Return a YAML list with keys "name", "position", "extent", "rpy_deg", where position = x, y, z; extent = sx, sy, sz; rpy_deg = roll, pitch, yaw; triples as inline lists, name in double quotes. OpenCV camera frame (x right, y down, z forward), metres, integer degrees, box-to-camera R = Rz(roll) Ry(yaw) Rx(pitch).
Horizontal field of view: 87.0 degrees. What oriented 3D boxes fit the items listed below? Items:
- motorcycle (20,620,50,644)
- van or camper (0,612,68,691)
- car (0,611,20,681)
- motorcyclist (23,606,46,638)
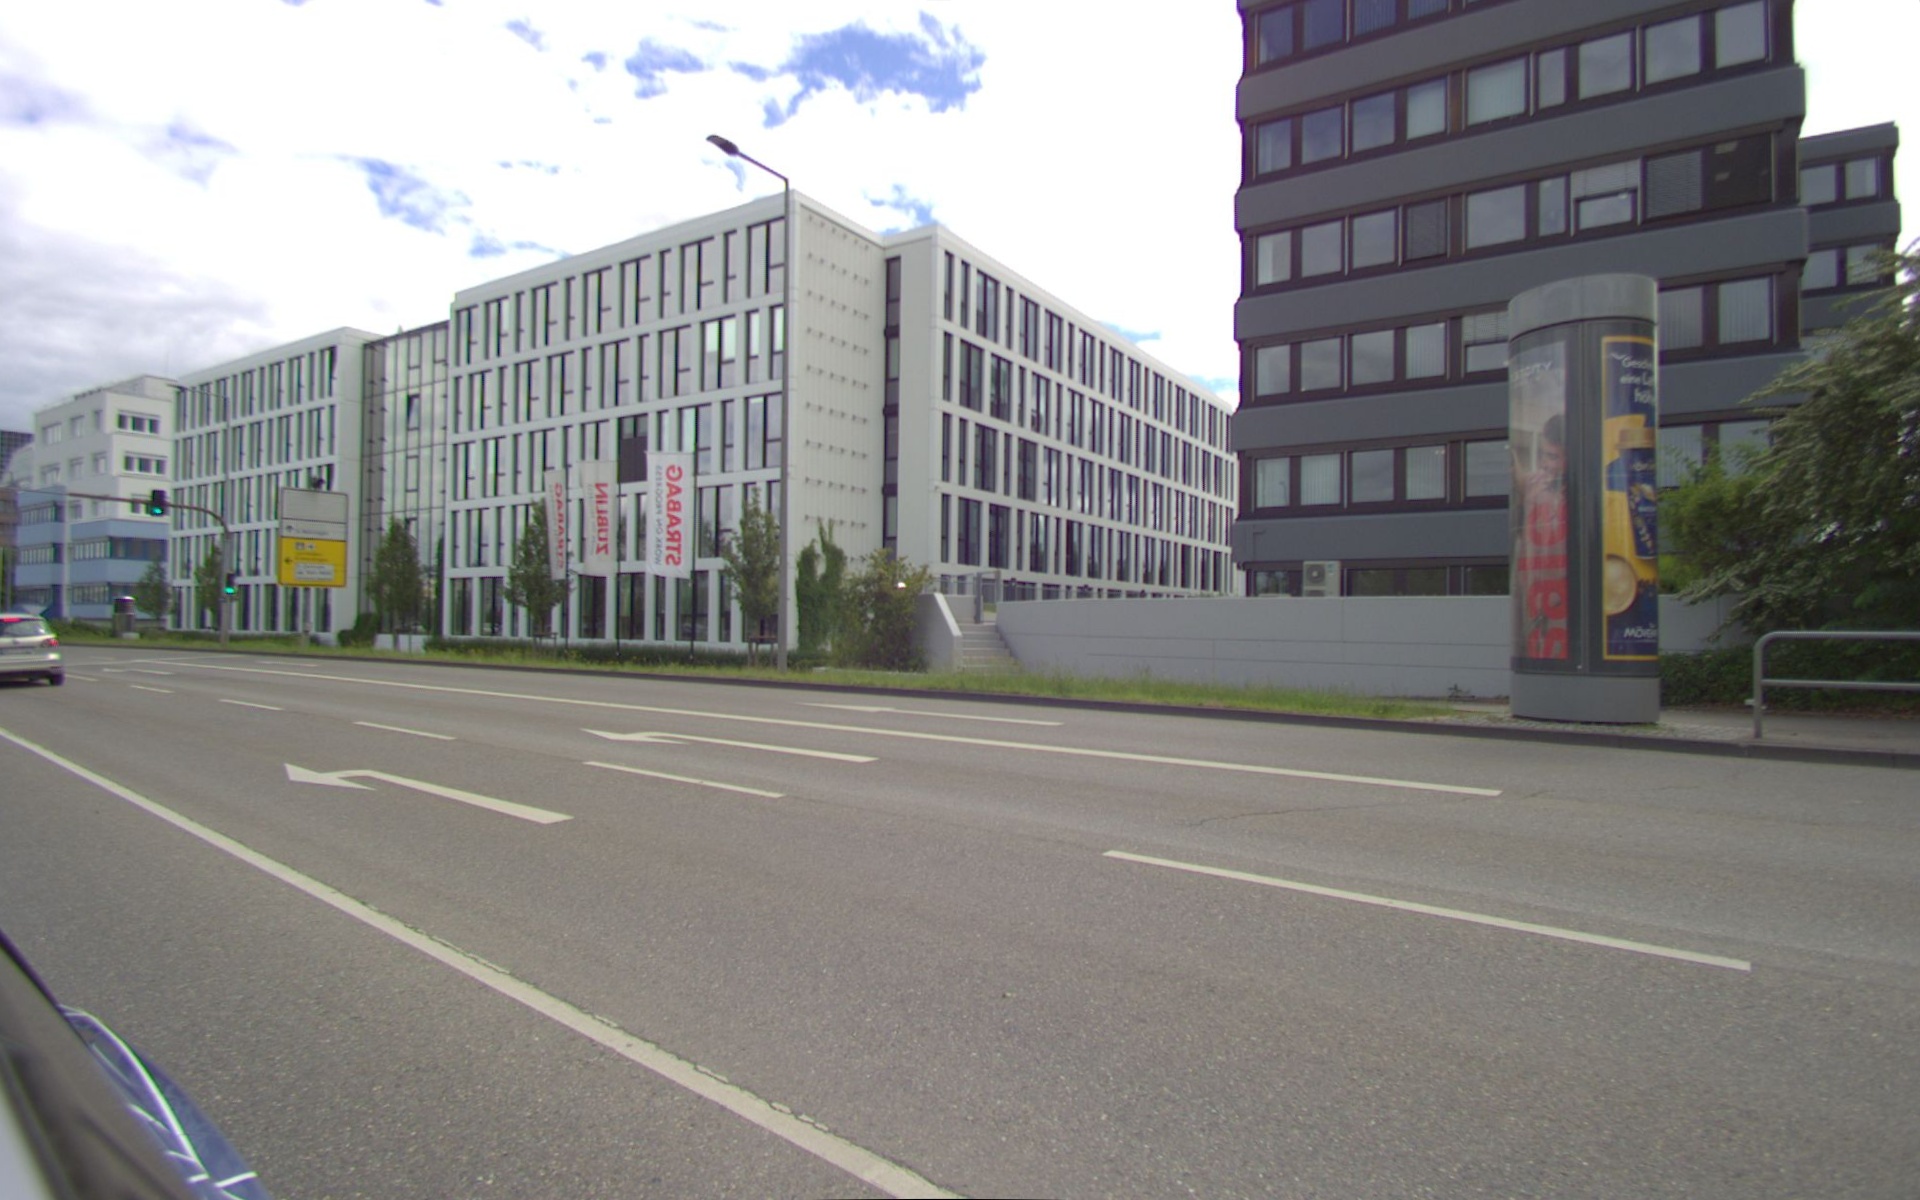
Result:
- name: "motorcycle"
  position: [-45.054, 1.563, 49.302]
  extent: [1.929, 1.121, 0.648]
  rpy_deg: [-1, -1, 34]
- name: "van or camper"
  position: [-21.061, 1.091, 22.097]
  extent: [4.041, 1.622, 1.727]
  rpy_deg: [-1, -1, 39]
- name: "car"
  position: [-25.693, 1.164, 25.755]
  extent: [4.363, 1.707, 1.850]
  rpy_deg: [-1, -1, 37]
- name: "motorcyclist"
  position: [-45.151, 1.070, 49.370]
  extent: [0.915, 1.521, 0.648]
  rpy_deg: [-1, -1, 34]
